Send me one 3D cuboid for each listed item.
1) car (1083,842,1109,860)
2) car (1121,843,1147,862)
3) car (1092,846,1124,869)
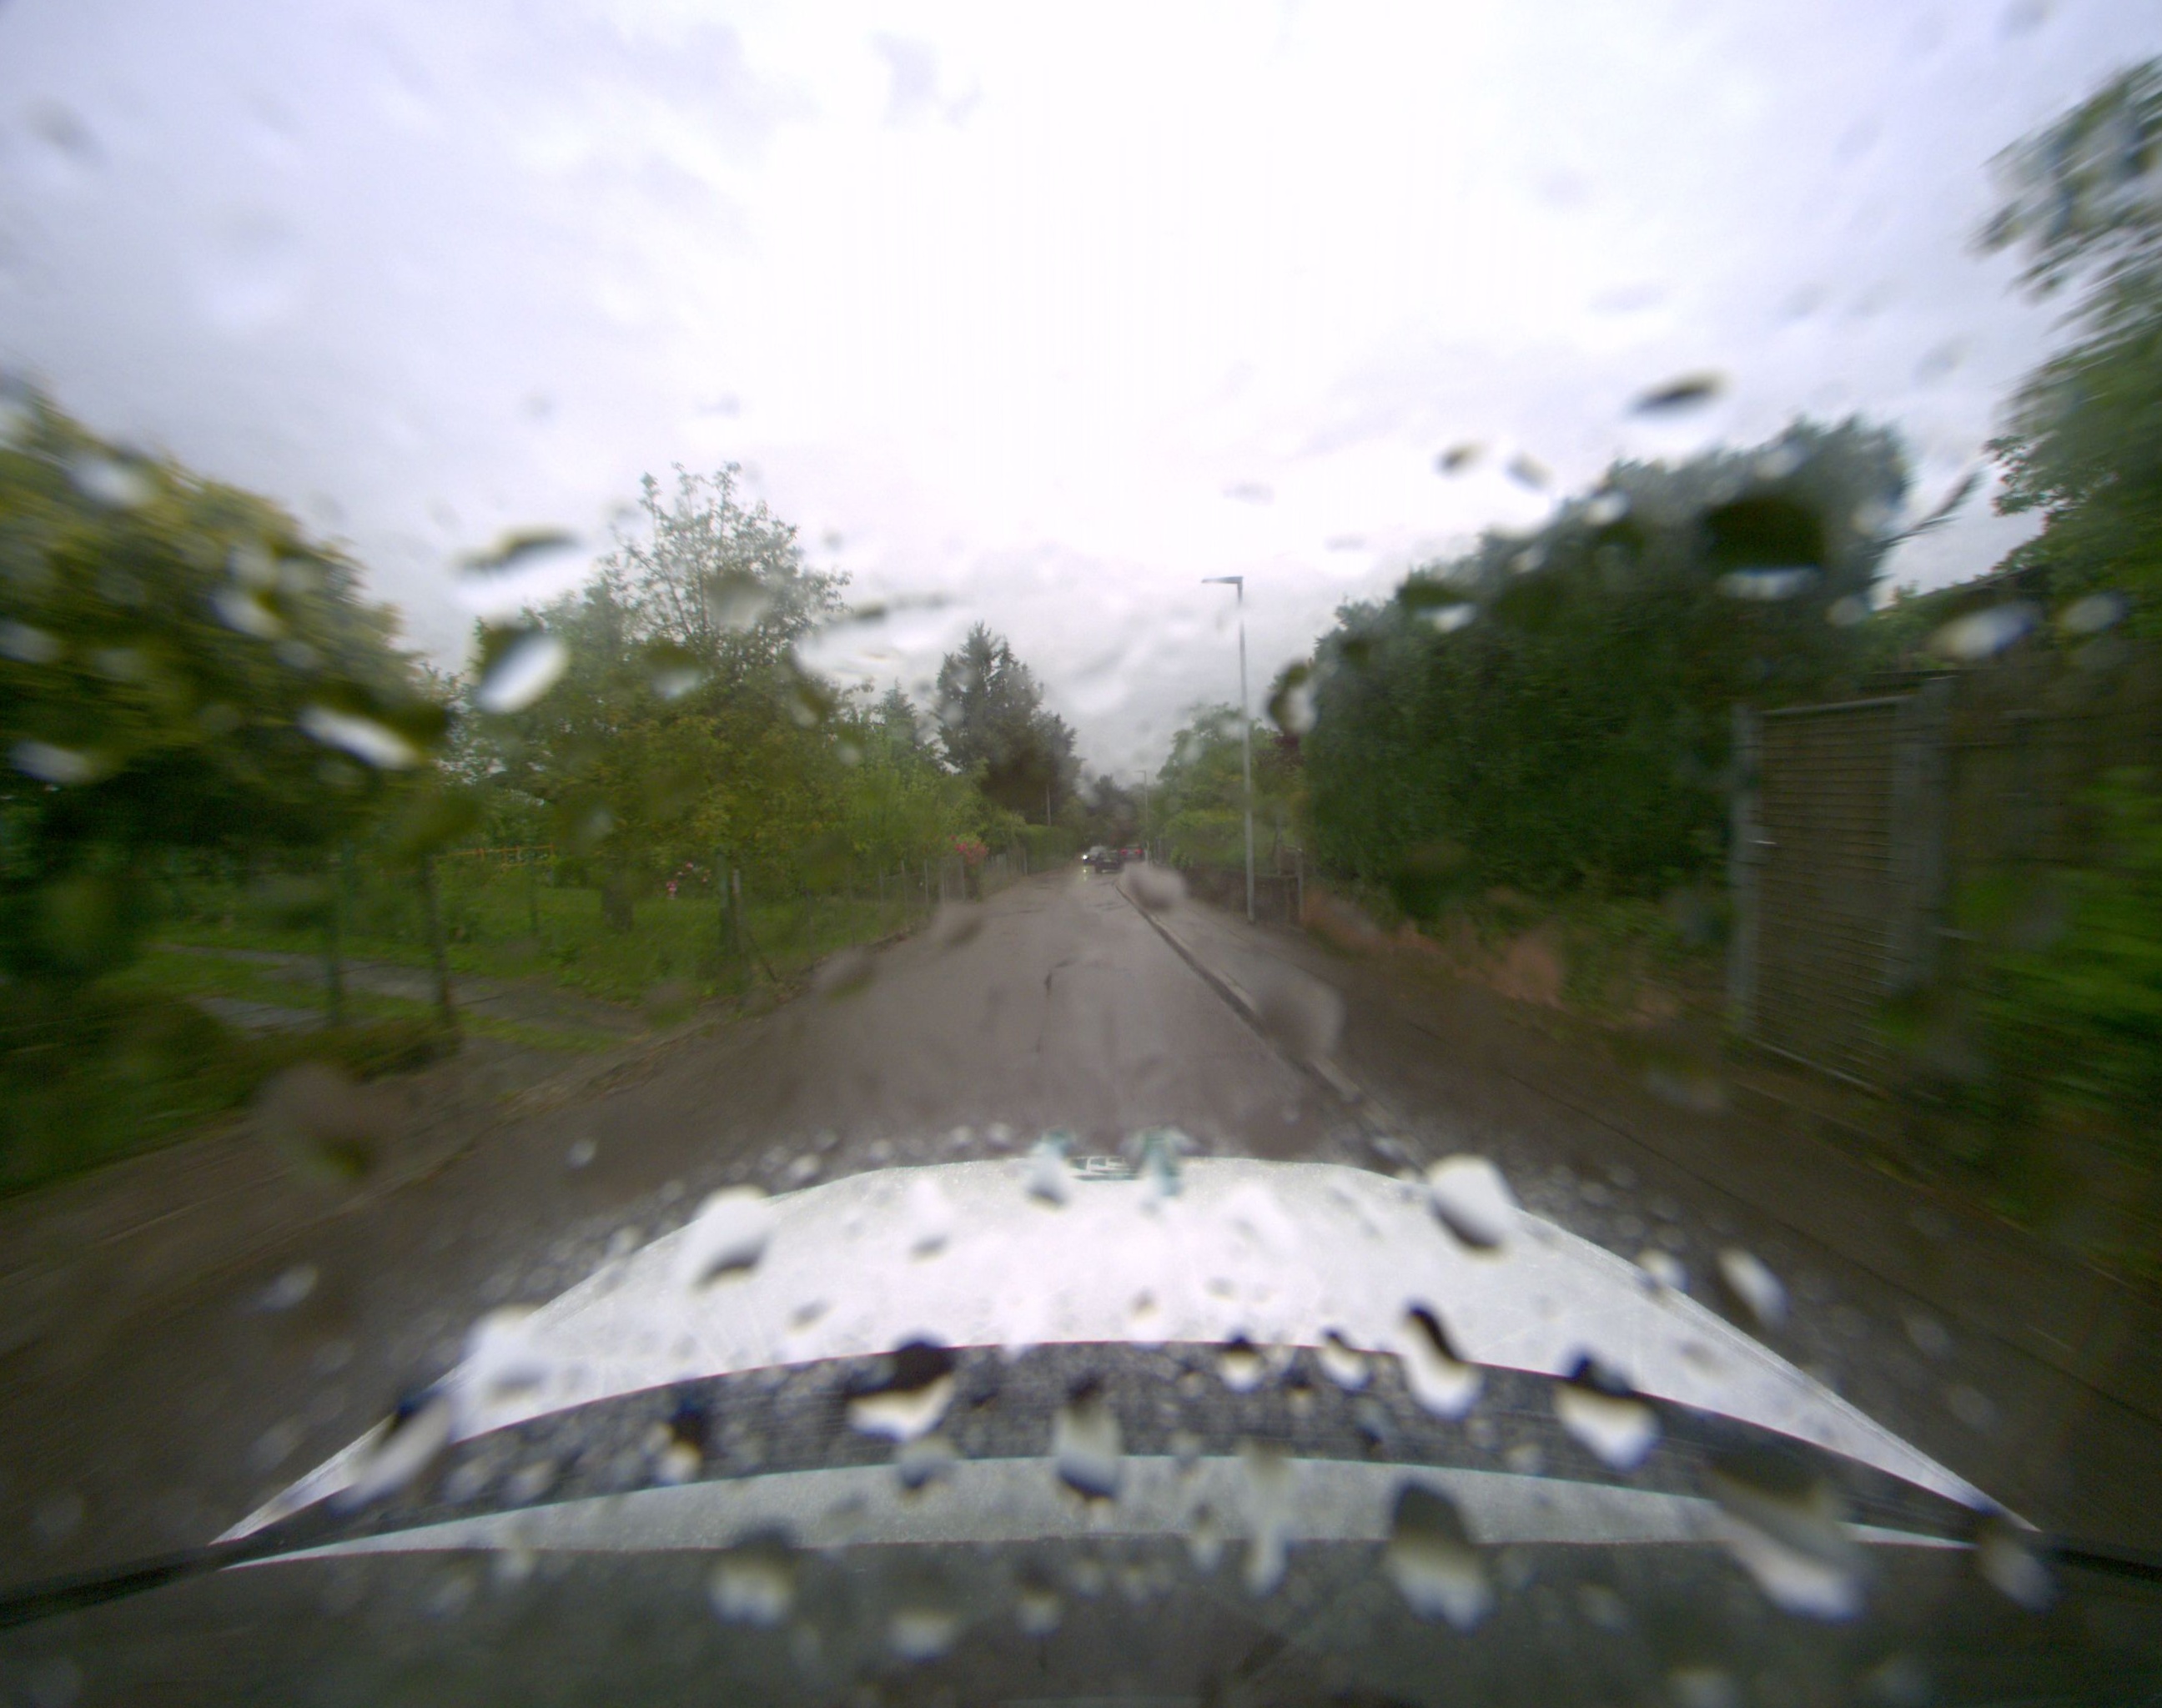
[{"bbox_3d":[1.293,-0.264,69.378,1.770,1.494,3.840,-1,1,8],"label":"car"},{"bbox_3d":[4.820,-0.182,73.468,1.666,1.565,3.810,1,2,15],"label":"car"},{"bbox_3d":[1.831,0.193,54.105,1.826,1.464,4.007,1,1,6],"label":"car"}]
